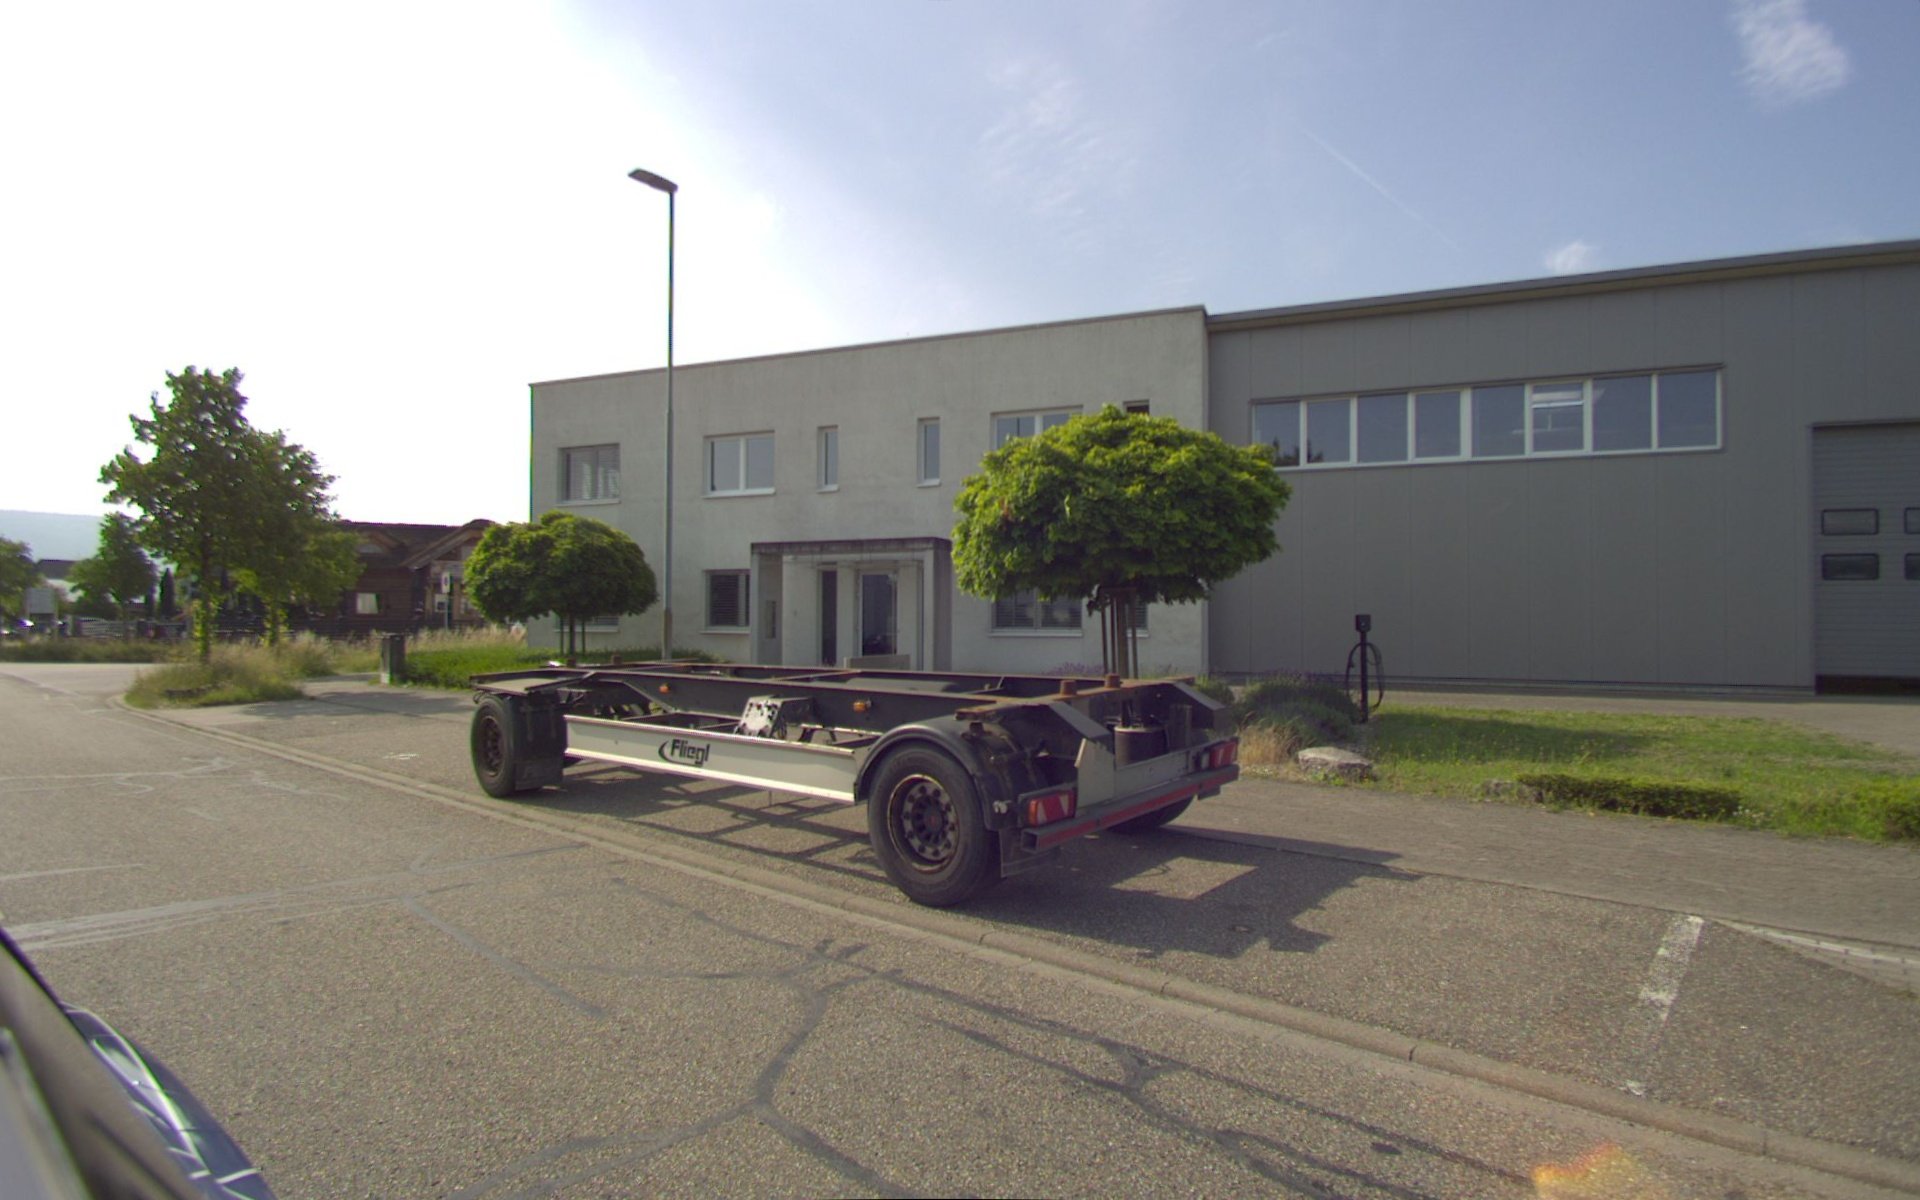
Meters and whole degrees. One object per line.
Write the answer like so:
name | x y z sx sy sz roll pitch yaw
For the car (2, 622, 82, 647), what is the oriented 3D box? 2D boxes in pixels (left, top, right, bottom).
car | -68.078 2.559 75.124 1.985 1.807 3.974 -1 -2 19

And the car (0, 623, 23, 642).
car | -76.177 2.590 80.506 3.541 1.492 1.596 -1 -2 34

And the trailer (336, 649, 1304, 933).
trailer | -2.286 1.056 8.716 9.726 1.082 2.519 -2 -1 41

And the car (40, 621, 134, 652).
car | -51.181 2.102 59.388 1.999 1.741 3.944 -2 -2 42
